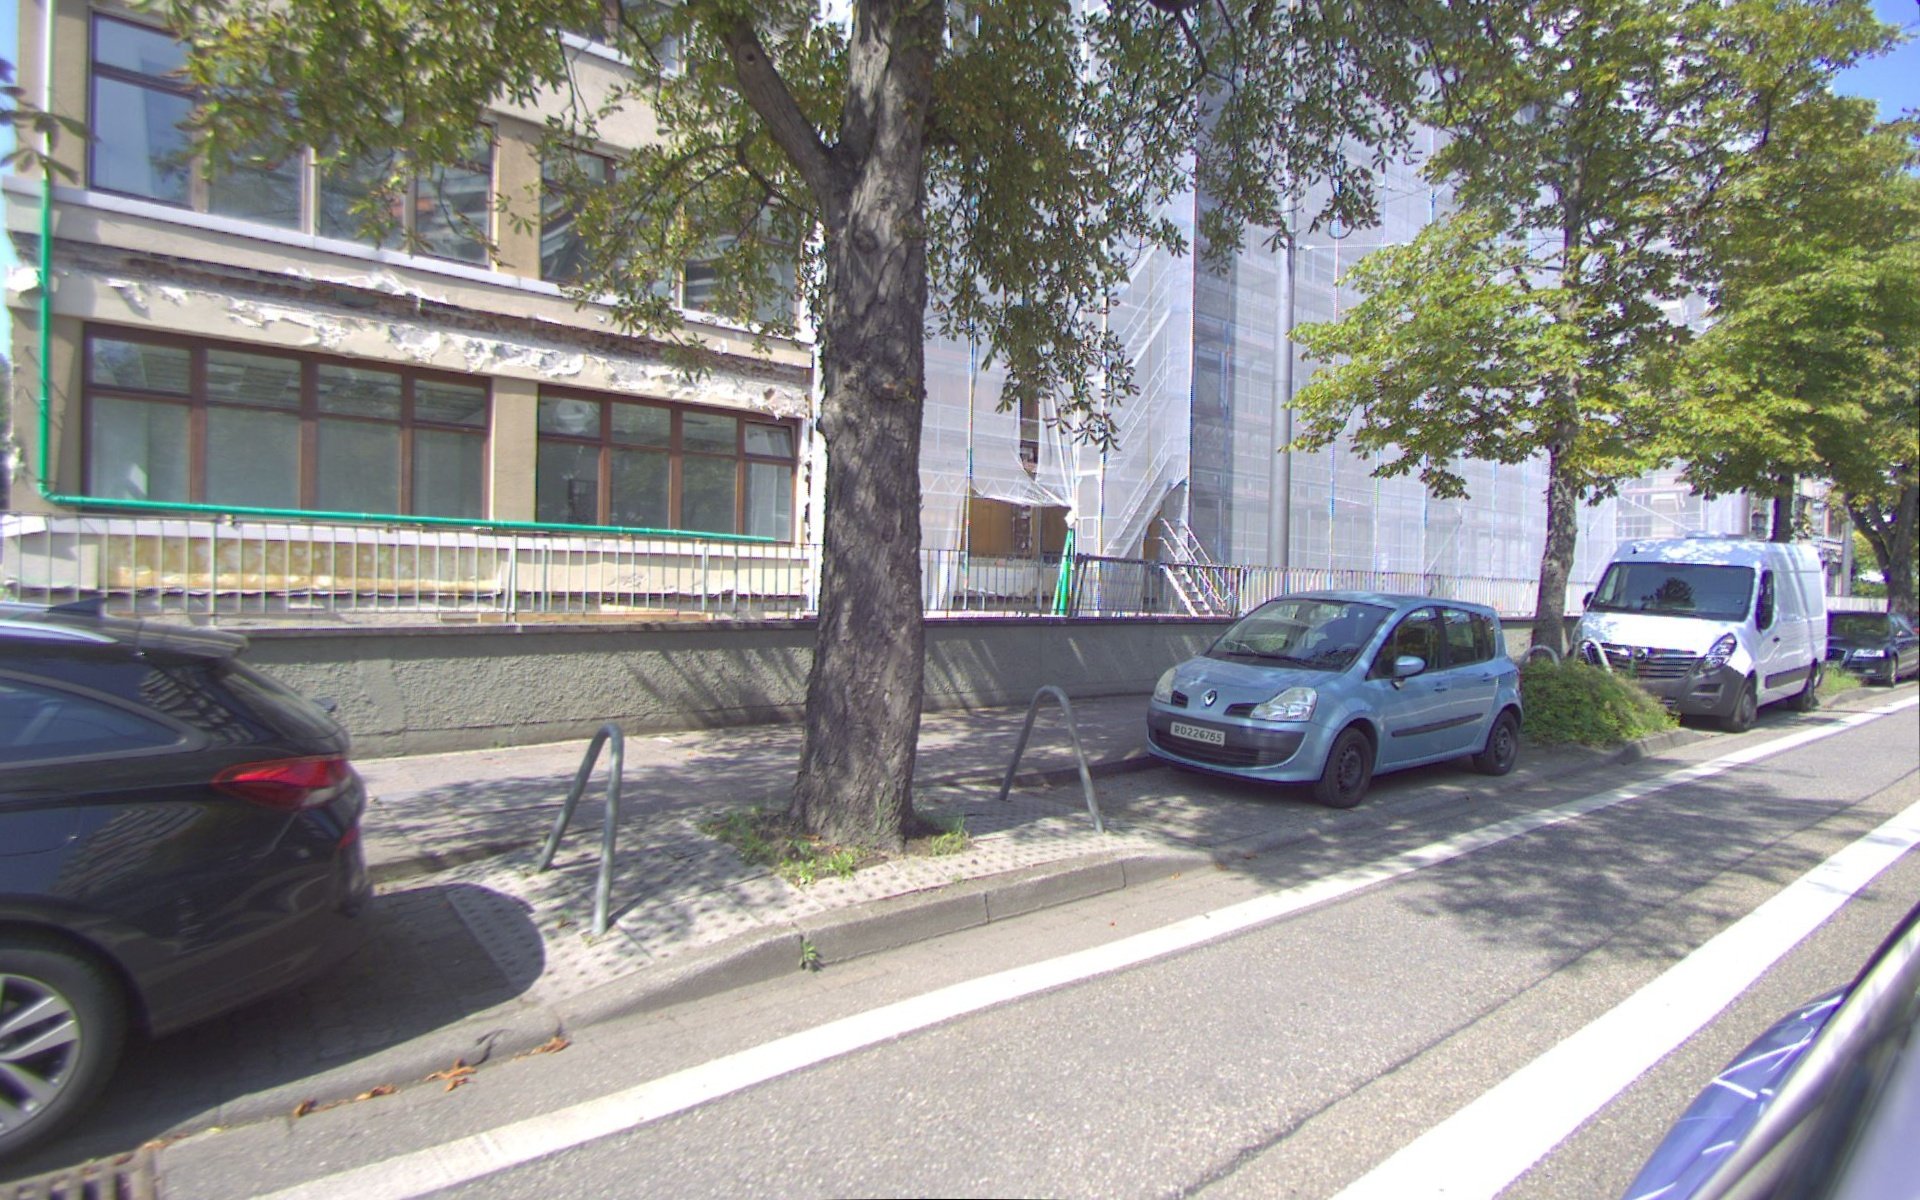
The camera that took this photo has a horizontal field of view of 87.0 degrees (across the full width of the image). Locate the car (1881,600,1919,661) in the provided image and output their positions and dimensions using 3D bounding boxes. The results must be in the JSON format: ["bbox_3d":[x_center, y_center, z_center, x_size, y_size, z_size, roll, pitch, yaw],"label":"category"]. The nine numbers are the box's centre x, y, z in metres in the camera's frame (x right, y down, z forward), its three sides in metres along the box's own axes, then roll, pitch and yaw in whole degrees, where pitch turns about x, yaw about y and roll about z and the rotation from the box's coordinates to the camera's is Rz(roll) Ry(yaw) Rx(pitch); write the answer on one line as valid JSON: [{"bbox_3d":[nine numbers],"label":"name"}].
[{"bbox_3d":[26.230,0.794,27.135,4.057,1.519,1.689,0,1,-39],"label":"car"}]

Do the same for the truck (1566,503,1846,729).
[{"bbox_3d":[10.688,0.159,14.314,5.492,2.631,1.921,0,1,-40],"label":"truck"}]

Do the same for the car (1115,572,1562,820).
[{"bbox_3d":[3.368,0.611,8.661,4.096,1.599,1.679,0,3,-38],"label":"car"}]

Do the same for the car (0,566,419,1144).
[{"bbox_3d":[-4.034,0.636,2.449,4.579,1.476,1.678,0,2,-38],"label":"car"}]

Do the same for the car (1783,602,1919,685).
[{"bbox_3d":[18.359,0.795,20.453,4.715,1.458,1.690,0,1,-38],"label":"car"}]
